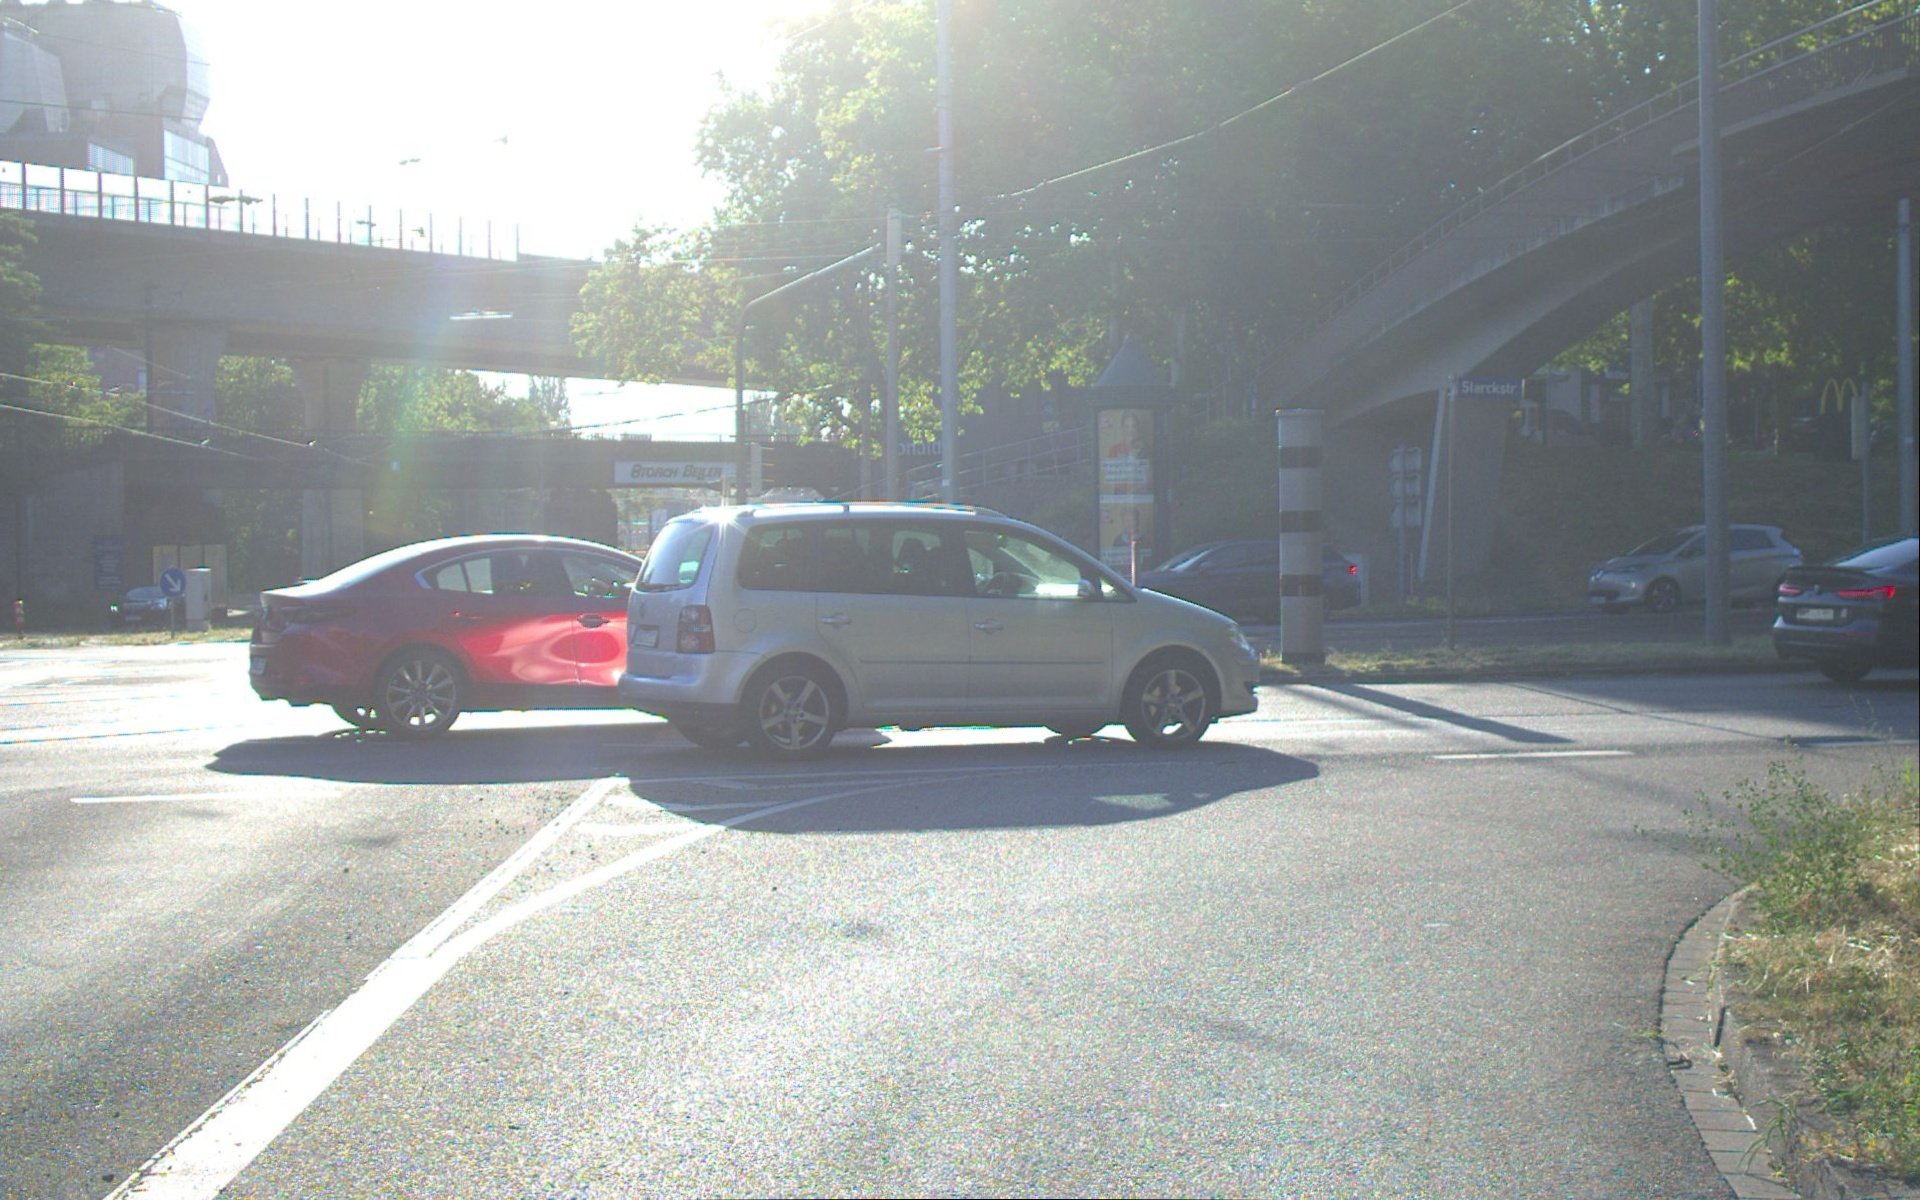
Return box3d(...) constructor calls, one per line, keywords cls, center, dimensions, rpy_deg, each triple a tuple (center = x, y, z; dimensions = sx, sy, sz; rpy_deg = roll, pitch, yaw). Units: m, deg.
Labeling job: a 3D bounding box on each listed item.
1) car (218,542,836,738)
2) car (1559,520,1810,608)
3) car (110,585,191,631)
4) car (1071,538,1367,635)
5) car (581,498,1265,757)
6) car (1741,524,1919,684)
box3d(cls="car", center=(-3.203, 0.270, 25.433), dimensions=(4.272, 1.359, 1.624), rpy_deg=(0, 1, -21))
box3d(cls="car", center=(12.720, -0.624, 60.374), dimensions=(3.993, 1.507, 1.694), rpy_deg=(0, 1, -19))
box3d(cls="car", center=(-26.231, 0.252, 111.489), dimensions=(1.606, 1.414, 4.008), rpy_deg=(0, 1, 1))
box3d(cls="car", center=(4.290, -0.225, 57.040), dimensions=(4.574, 1.569, 1.694), rpy_deg=(0, 1, -17))
box3d(cls="car", center=(-0.251, 0.159, 23.140), dimensions=(4.272, 1.625, 1.694), rpy_deg=(0, 1, -21))
box3d(cls="car", center=(9.438, 0.025, 30.969), dimensions=(4.475, 1.364, 1.694), rpy_deg=(0, 1, -20))
